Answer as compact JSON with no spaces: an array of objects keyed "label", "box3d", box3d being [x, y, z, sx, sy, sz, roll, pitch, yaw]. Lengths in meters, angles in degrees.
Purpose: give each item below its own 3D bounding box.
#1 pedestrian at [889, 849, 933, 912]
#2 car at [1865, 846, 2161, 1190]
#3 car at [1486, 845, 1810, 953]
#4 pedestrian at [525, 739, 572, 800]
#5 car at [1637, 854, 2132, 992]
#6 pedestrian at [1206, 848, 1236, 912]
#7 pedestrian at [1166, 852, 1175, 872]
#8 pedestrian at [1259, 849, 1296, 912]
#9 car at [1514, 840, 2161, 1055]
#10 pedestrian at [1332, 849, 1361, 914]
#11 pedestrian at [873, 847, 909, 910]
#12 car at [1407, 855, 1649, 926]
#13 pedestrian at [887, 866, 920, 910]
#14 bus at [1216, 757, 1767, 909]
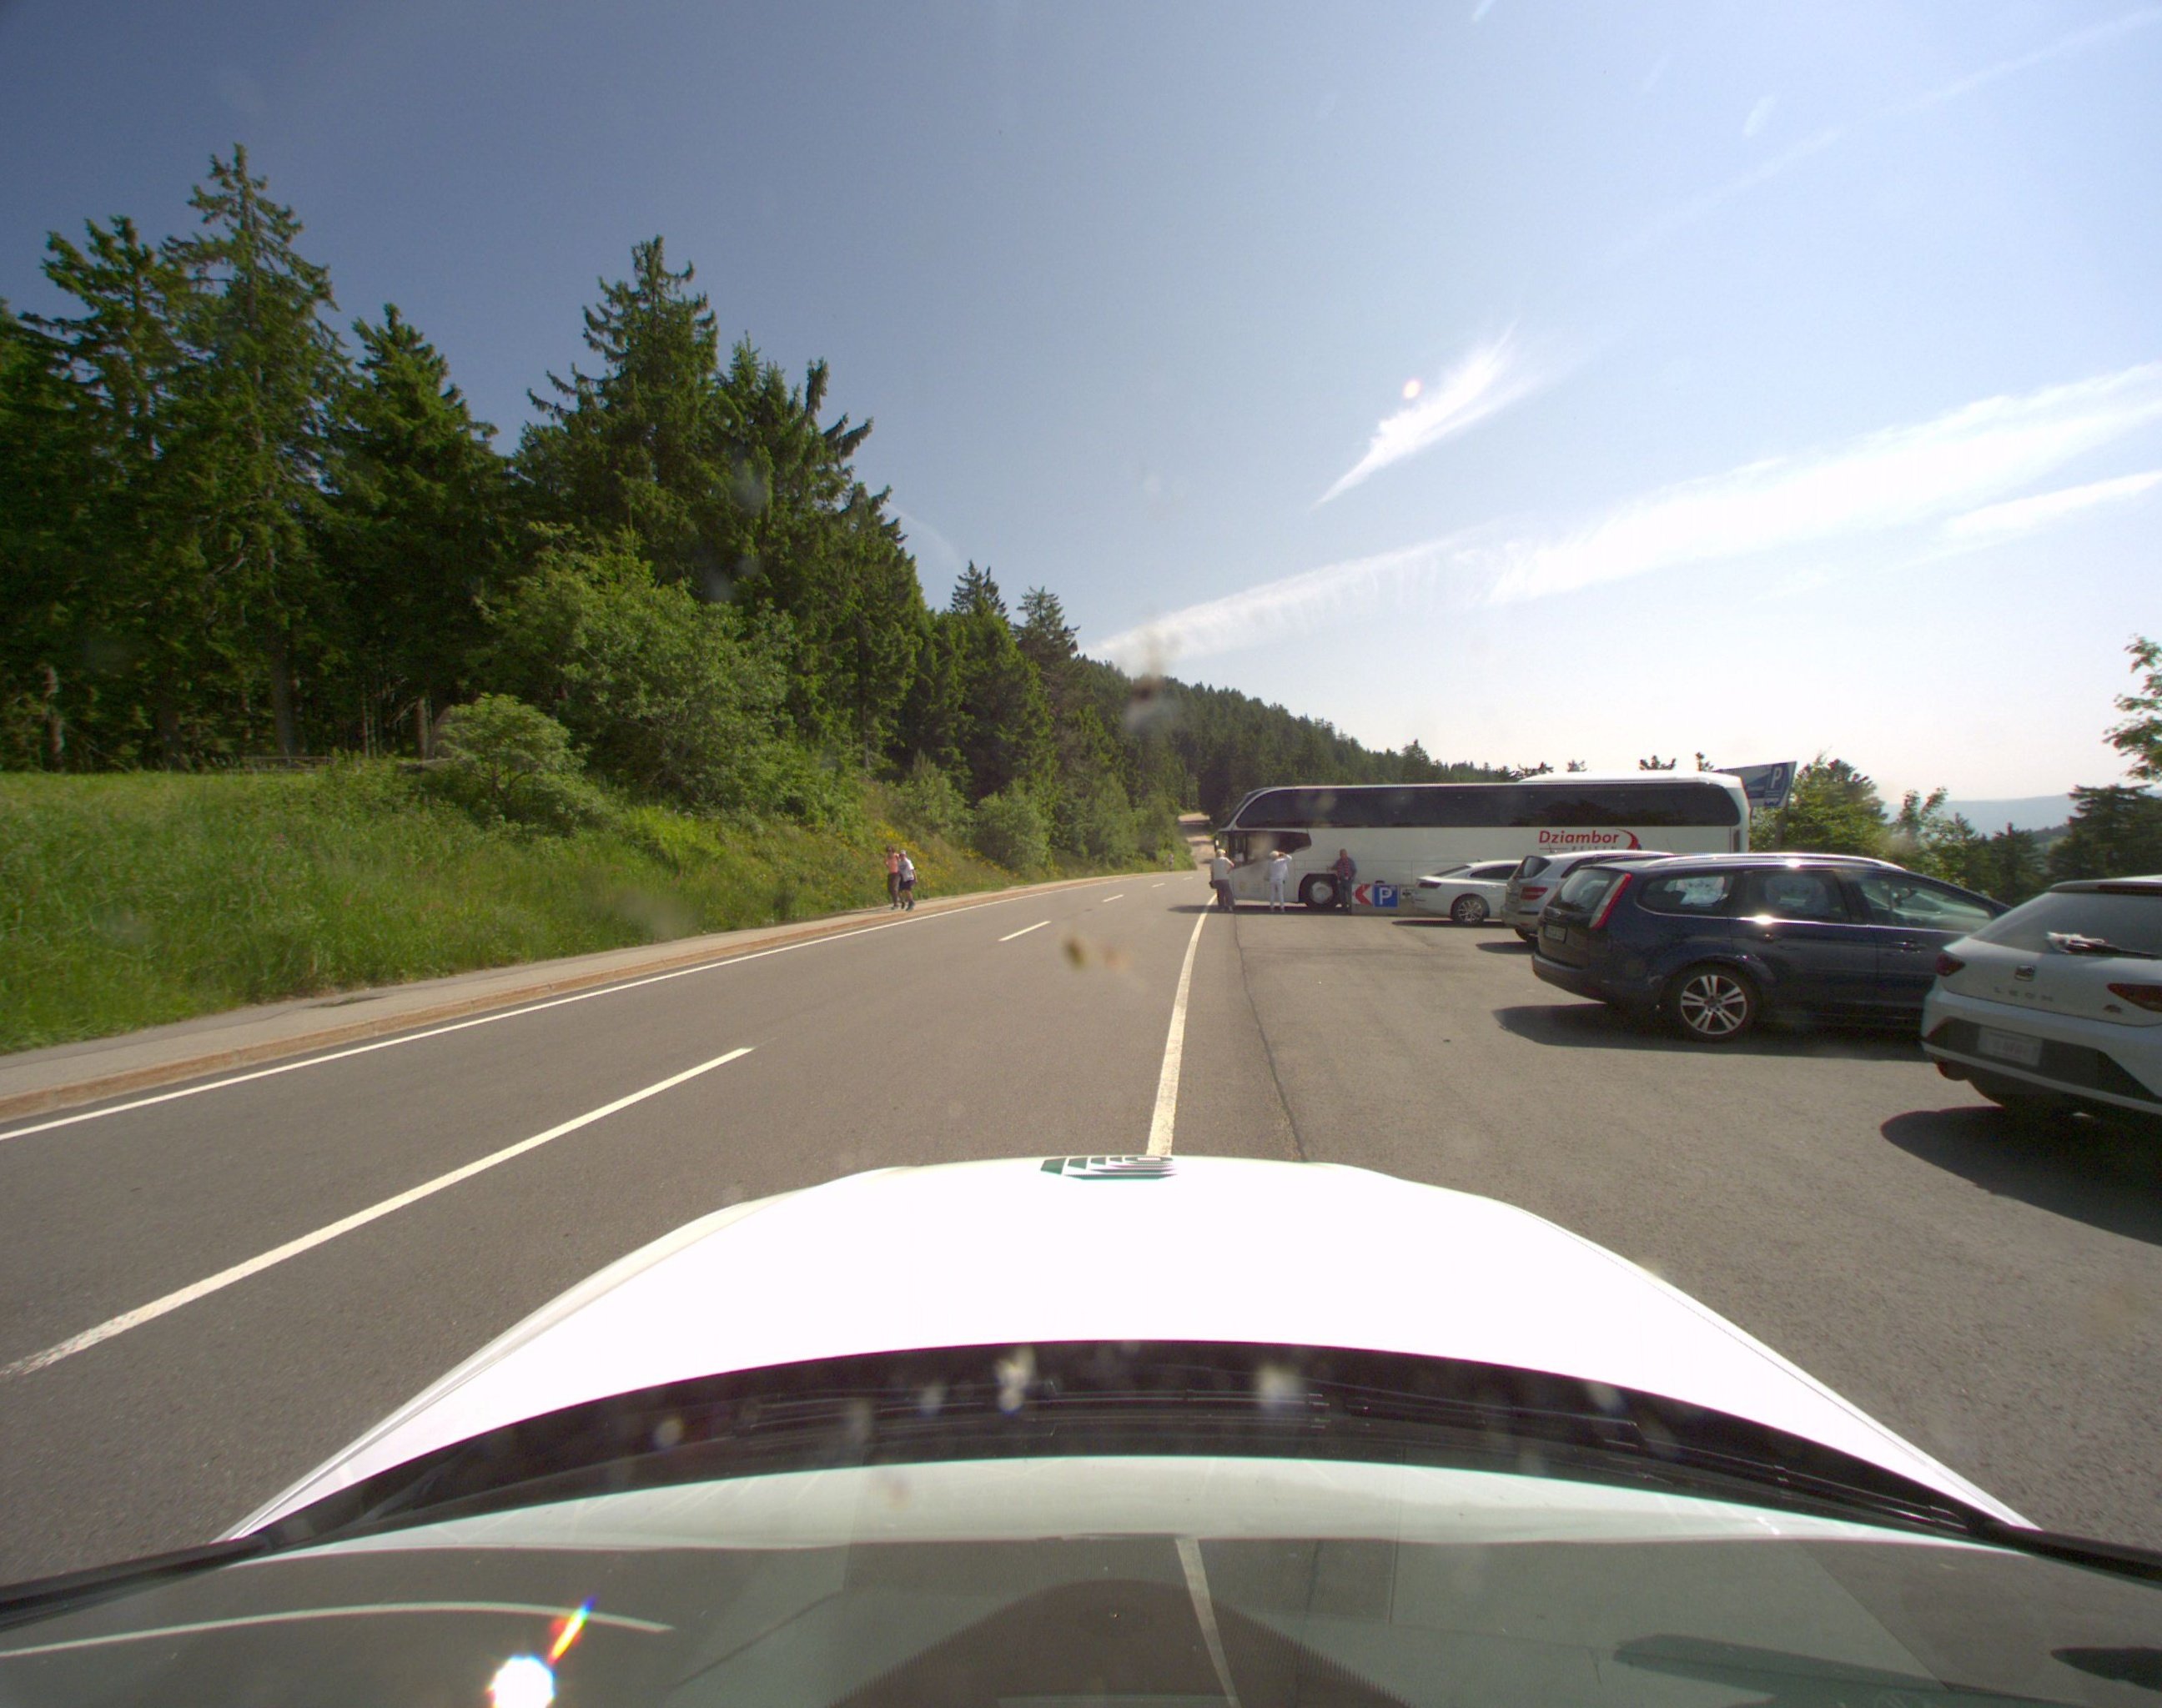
[{"label":"pedestrian","box3d":[-4.252,0.653,20.400,0.884,1.537,0.575,-2,0,-39]},{"label":"car","box3d":[6.500,0.726,3.833,3.862,1.420,1.617,1,-1,7]},{"label":"car","box3d":[8.927,0.654,13.202,3.959,1.574,1.773,0,0,13]},{"label":"pedestrian","box3d":[-14.884,-2.347,22.767,0.805,1.629,0.743,-1,0,4]},{"label":"car","box3d":[9.380,0.728,9.906,3.959,1.420,1.773,1,0,13]},{"label":"pedestrian","box3d":[3.717,0.678,21.723,0.703,1.643,0.746,-2,0,6]},{"label":"pedestrian","box3d":[7.561,0.676,68.660,0.678,1.746,0.827,0,0,9]},{"label":"pedestrian","box3d":[5.131,0.670,21.292,0.638,1.596,0.749,-1,0,40]},{"label":"car","box3d":[6.230,0.664,7.053,4.101,1.544,1.678,0,0,13]},{"label":"pedestrian","box3d":[6.873,0.699,21.102,0.639,1.643,0.748,-1,0,16]},{"label":"pedestrian","box3d":[-5.098,0.642,21.886,0.572,1.643,0.897,-2,0,11]},{"label":"car","box3d":[9.504,0.732,17.730,4.388,1.396,1.726,0,0,18]},{"label":"pedestrian","box3d":[-4.593,0.868,21.120,0.565,1.102,0.747,-1,0,11]},{"label":"bus","box3d":[10.286,-0.418,22.134,12.749,3.577,2.851,-1,0,15]}]
